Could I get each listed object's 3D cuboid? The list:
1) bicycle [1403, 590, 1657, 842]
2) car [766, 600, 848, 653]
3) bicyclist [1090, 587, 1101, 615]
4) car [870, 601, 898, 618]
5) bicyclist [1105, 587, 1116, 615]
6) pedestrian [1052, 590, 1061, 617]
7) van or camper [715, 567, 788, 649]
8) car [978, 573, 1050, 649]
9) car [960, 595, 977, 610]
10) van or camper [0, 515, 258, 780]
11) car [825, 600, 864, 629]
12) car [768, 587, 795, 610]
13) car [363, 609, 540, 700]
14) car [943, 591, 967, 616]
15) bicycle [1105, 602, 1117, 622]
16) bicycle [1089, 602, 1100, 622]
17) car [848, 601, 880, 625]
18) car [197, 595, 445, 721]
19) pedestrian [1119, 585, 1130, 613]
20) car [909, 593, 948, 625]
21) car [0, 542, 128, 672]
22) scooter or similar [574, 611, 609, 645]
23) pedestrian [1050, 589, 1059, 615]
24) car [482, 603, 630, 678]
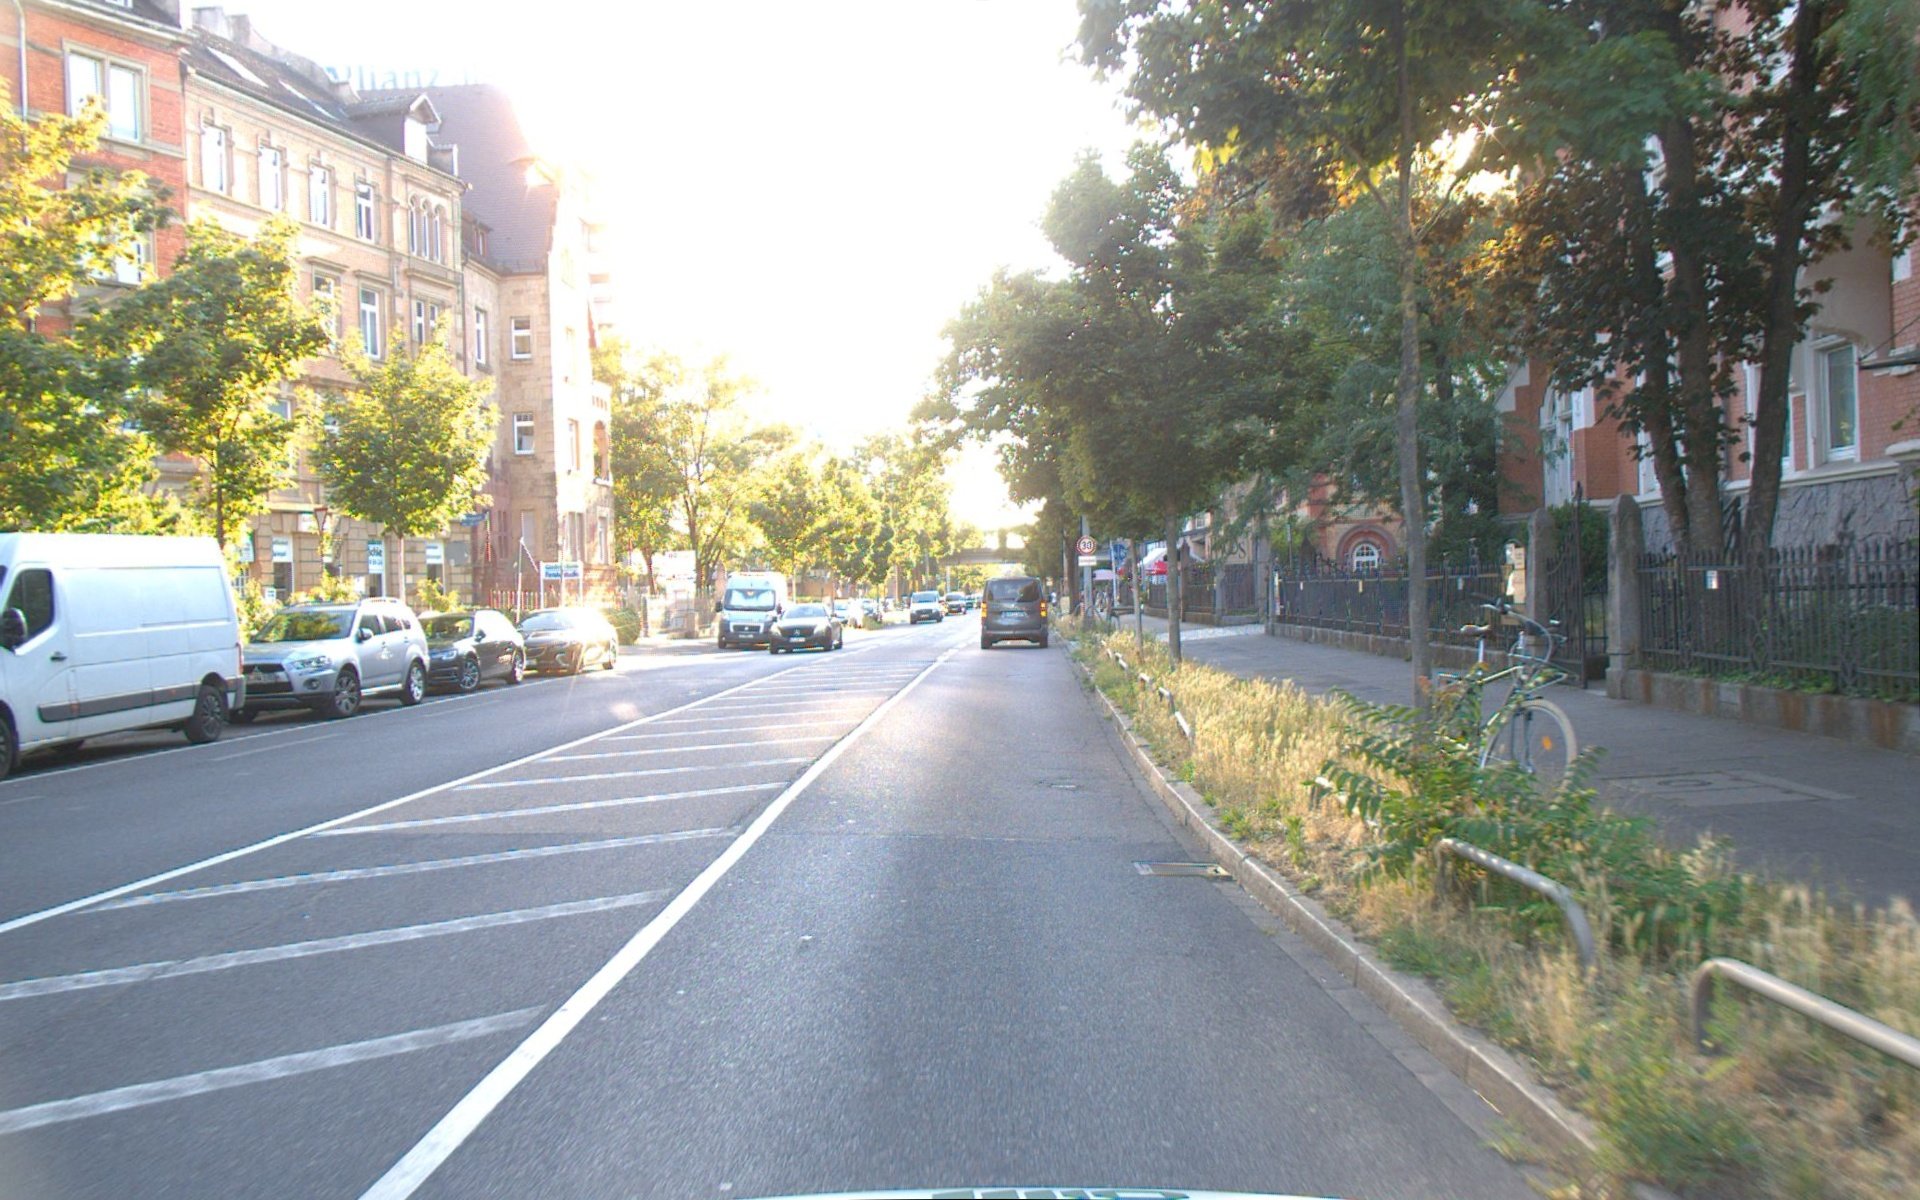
[{"bbox_3d":[2.949,0.547,8.768,0.633,1.187,1.930,0,0,-2],"label":"bicycle"},{"bbox_3d":[-4.503,0.752,49.254,1.729,1.426,4.547,-2,0,3],"label":"car"},{"bbox_3d":[7.579,0.038,92.653,0.583,1.559,0.894,0,0,2],"label":"bicyclist"},{"bbox_3d":[-6.353,0.791,138.666,1.952,1.439,4.238,0,0,2],"label":"car"},{"bbox_3d":[8.441,0.046,92.748,0.583,1.559,0.894,0,0,2],"label":"bicyclist"},{"bbox_3d":[7.085,0.247,121.212,0.495,1.922,0.543,0,0,-12],"label":"pedestrian"},{"bbox_3d":[-7.248,0.244,57.939,1.953,2.715,6.036,0,0,-2],"label":"van or camper"},{"bbox_3d":[1.545,0.271,45.880,1.848,1.958,3.841,-2,0,3],"label":"car"},{"bbox_3d":[0.948,0.237,178.474,1.644,1.556,4.001,-3,0,2],"label":"car"},{"bbox_3d":[-10.079,0.477,17.905,2.048,2.511,6.307,-2,0,1],"label":"van or camper"},{"bbox_3d":[-6.072,0.735,87.164,1.661,1.477,4.001,0,0,1],"label":"car"},{"bbox_3d":[-18.487,-0.196,171.374,1.952,2.348,5.247,0,0,2],"label":"car"},{"bbox_3d":[-9.351,0.953,30.817,1.700,1.471,4.626,-1,0,2],"label":"car"},{"bbox_3d":[-0.383,0.283,136.450,1.795,1.885,4.474,-3,0,1],"label":"car"},{"bbox_3d":[8.450,0.658,92.627,0.506,1.058,2.089,0,0,2],"label":"bicycle"},{"bbox_3d":[7.541,0.670,92.716,0.533,1.058,2.089,0,0,2],"label":"bicycle"},{"bbox_3d":[-5.748,0.756,99.615,1.604,1.410,4.001,0,0,1],"label":"car"},{"bbox_3d":[-9.562,0.794,25.188,1.827,1.673,4.572,-2,0,2],"label":"car"},{"bbox_3d":[9.963,-0.058,100.169,0.631,1.661,0.656,0,0,3],"label":"pedestrian"},{"bbox_3d":[-1.908,0.533,102.406,1.952,1.863,5.171,-3,0,3],"label":"car"},{"bbox_3d":[-21.330,0.175,36.217,2.079,2.787,5.304,-3,0,27],"label":"car"},{"bbox_3d":[-12.162,0.918,54.581,0.283,1.075,1.110,-3,0,44],"label":"scooter or similar"},{"bbox_3d":[6.977,0.117,121.880,0.495,1.922,0.543,0,0,-12],"label":"pedestrian"},{"bbox_3d":[-8.966,0.854,37.134,1.952,1.509,4.830,-2,0,2],"label":"car"}]
